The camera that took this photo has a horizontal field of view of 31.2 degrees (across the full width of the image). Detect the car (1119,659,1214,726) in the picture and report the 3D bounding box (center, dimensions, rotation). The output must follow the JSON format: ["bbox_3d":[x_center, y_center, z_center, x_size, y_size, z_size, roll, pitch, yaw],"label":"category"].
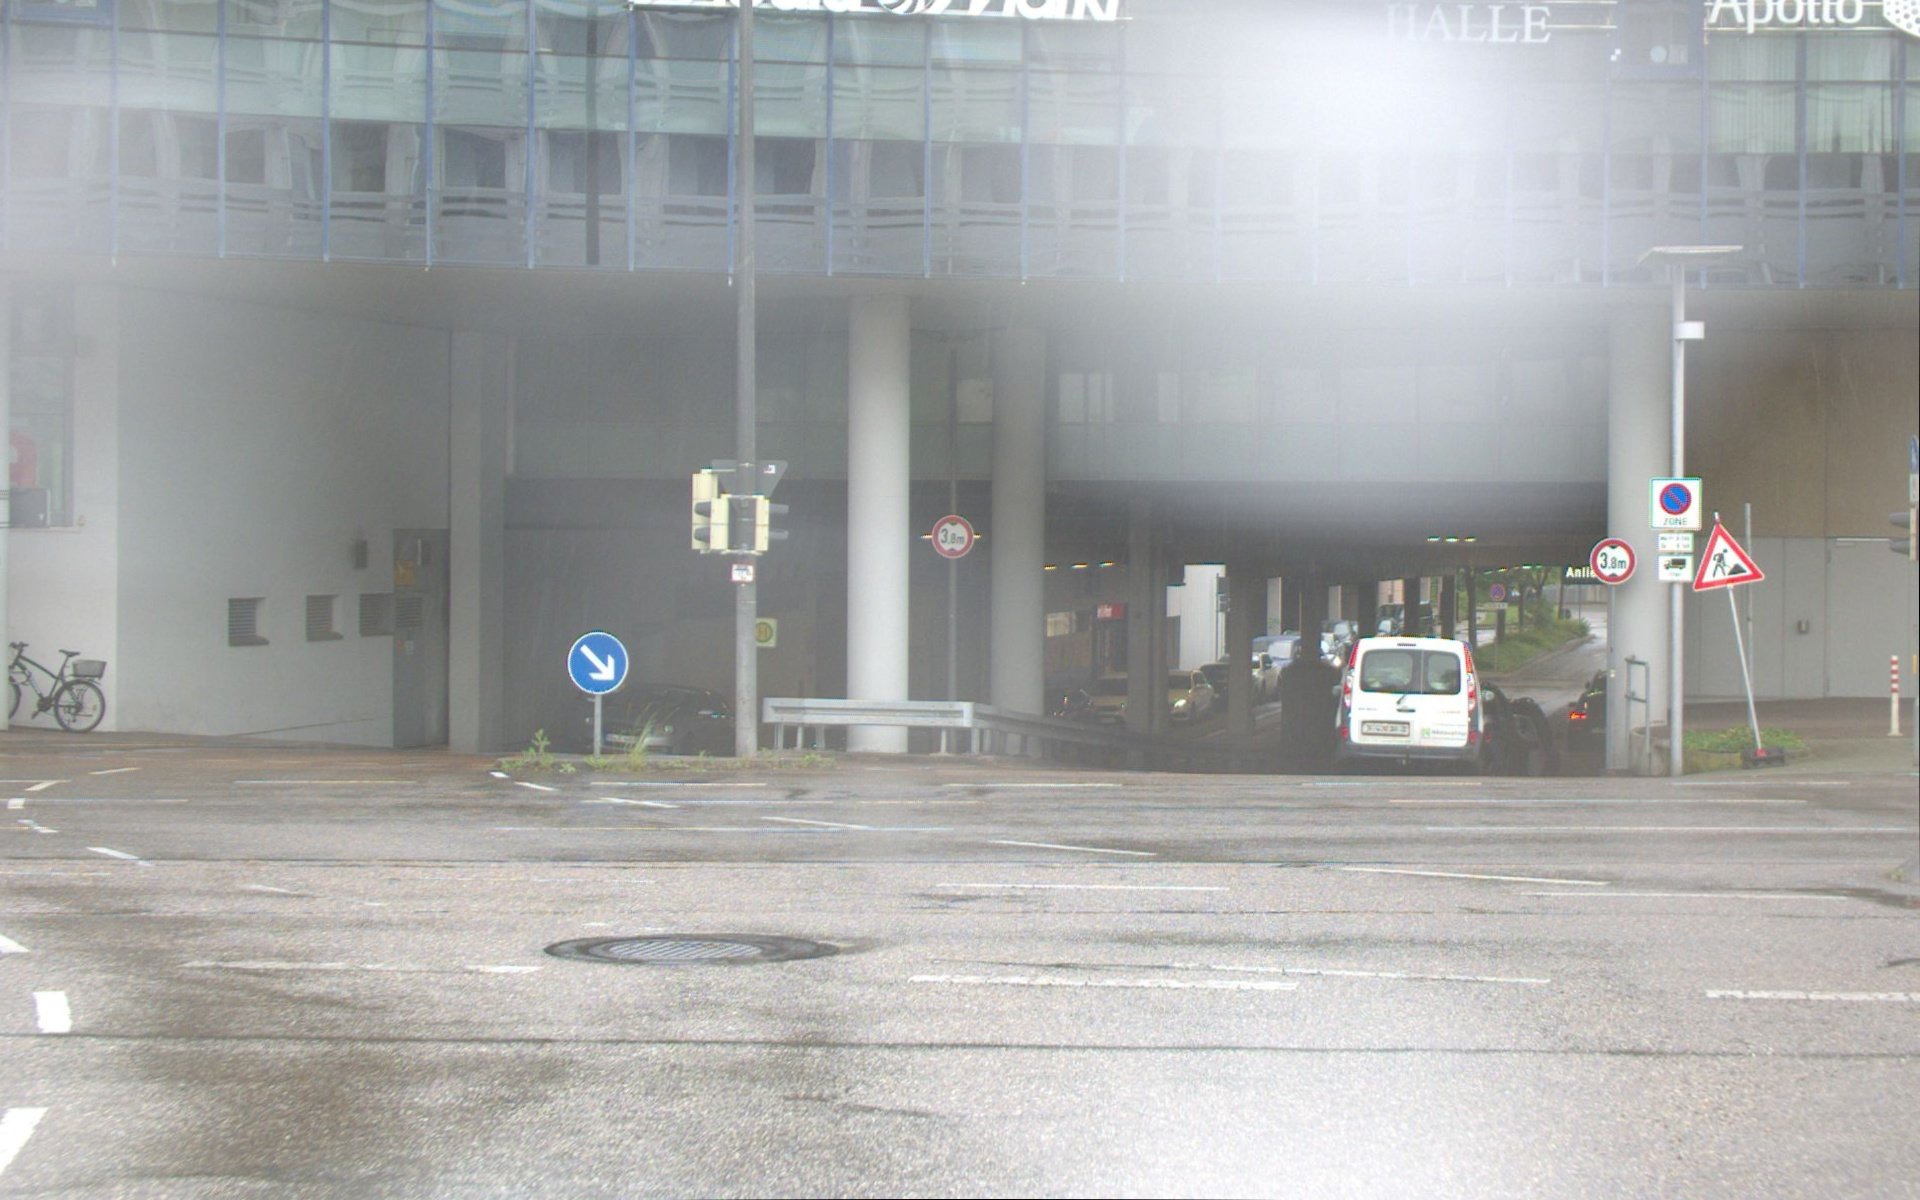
[{"bbox_3d":[5.845,2.586,96.783,1.995,1.658,3.998,2,1,13],"label":"car"}]

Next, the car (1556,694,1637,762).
[{"bbox_3d":[15.972,3.188,86.246,1.889,1.486,3.839,2,1,11],"label":"car"}]

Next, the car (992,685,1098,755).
[{"bbox_3d":[2.152,2.973,85.986,1.915,1.582,3.937,0,0,13],"label":"car"}]

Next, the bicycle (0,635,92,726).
[{"bbox_3d":[-11.627,0.967,42.509,1.581,1.014,0.452,7,-2,-33],"label":"bicycle"}]

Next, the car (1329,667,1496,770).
[{"bbox_3d":[6.786,1.782,51.250,1.759,1.459,3.939,0,-3,18],"label":"car"}]

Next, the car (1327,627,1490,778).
[{"bbox_3d":[5.670,1.254,43.404,1.926,1.791,4.295,0,-1,8],"label":"car"}]

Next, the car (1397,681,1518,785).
[{"bbox_3d":[8.144,2.192,56.060,1.634,1.606,4.259,0,-3,13],"label":"car"}]

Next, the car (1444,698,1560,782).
[{"bbox_3d":[9.619,2.452,60.838,1.780,1.395,3.997,0,-1,13],"label":"car"}]

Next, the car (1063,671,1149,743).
[{"bbox_3d":[3.890,2.802,90.977,1.837,1.722,3.999,1,0,8],"label":"car"}]

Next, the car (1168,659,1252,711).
[{"bbox_3d":[7.611,2.564,104.486,1.995,1.459,3.998,0,0,13],"label":"car"}]

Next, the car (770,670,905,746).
[{"bbox_3d":[-2.413,2.158,68.888,1.771,1.459,3.873,0,-2,13],"label":"car"}]

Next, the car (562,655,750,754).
[{"bbox_3d":[-4.993,1.759,56.975,1.893,1.465,4.024,1,-4,13],"label":"car"}]
